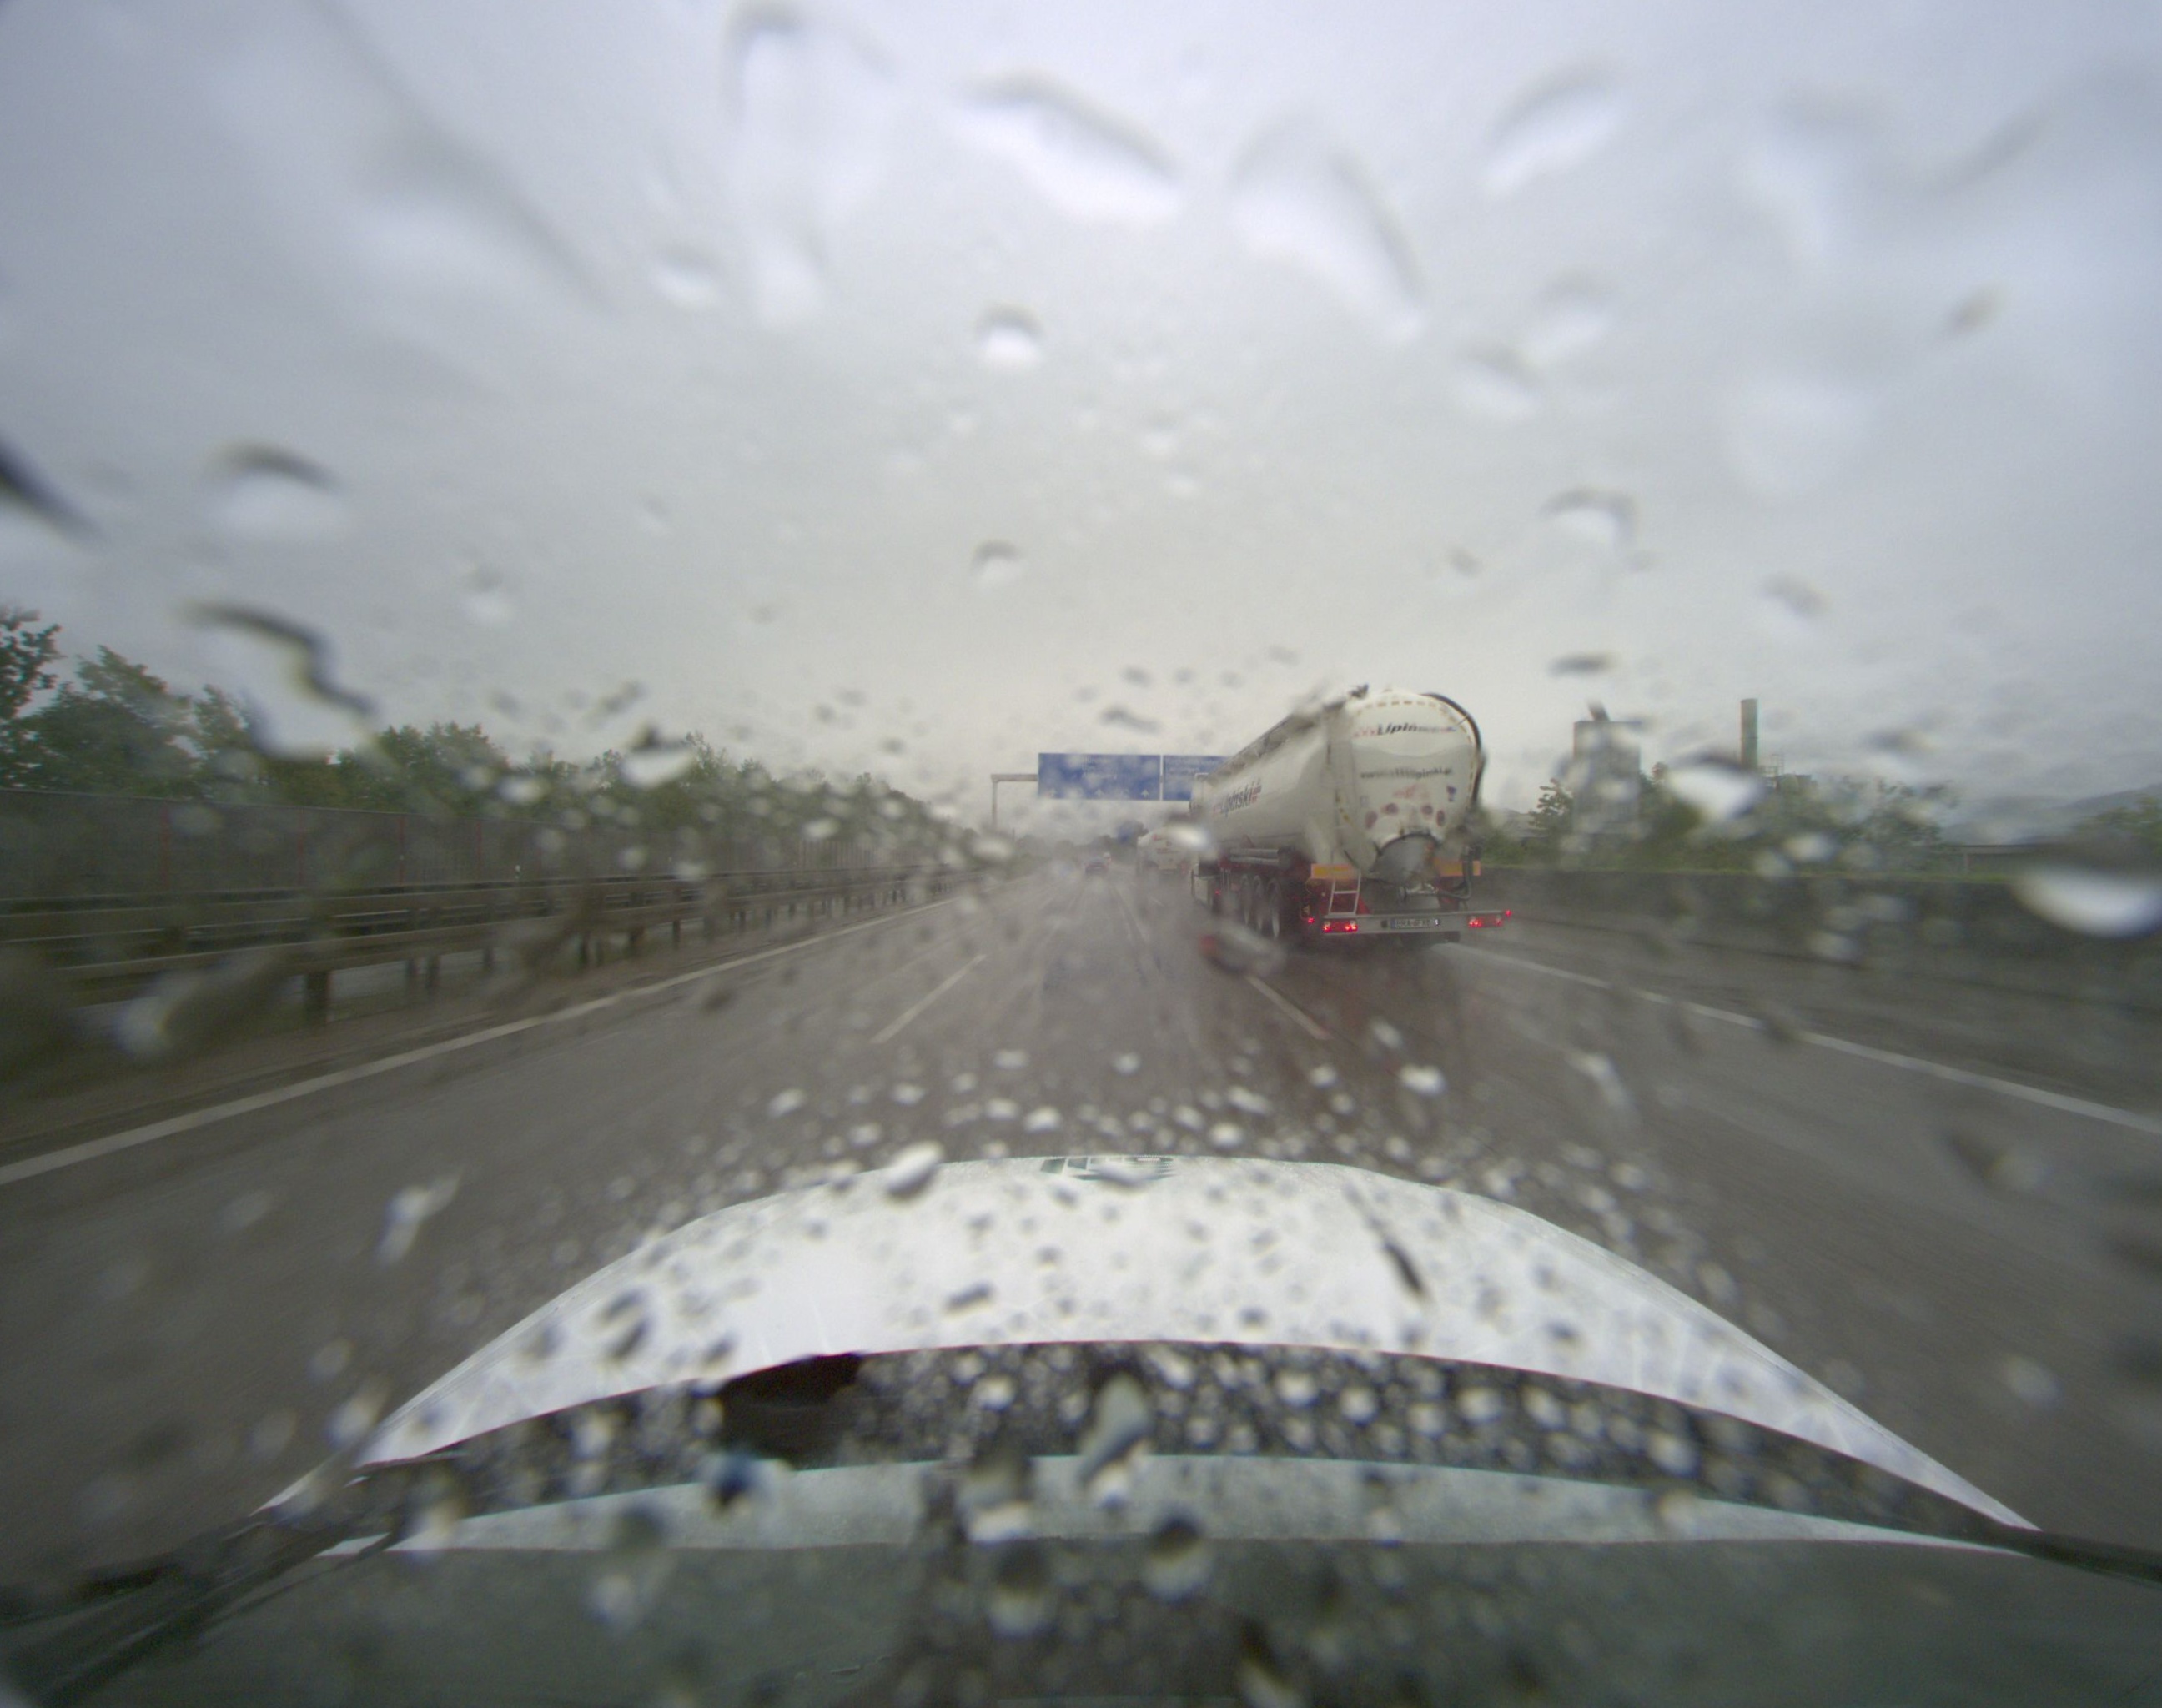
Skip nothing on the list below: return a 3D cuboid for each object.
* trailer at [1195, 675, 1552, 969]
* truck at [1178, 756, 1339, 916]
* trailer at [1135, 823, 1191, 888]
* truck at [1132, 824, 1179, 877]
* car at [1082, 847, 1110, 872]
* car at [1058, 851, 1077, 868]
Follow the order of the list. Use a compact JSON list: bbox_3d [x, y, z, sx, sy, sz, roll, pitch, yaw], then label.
[{"bbox_3d":[4.489,-0.411,16.097,3.176,3.670,11.671,-1,0,2],"label":"trailer"},{"bbox_3d":[4.685,-0.418,23.127,3.094,3.806,7.213,-1,0,1],"label":"truck"},{"bbox_3d":[5.212,0.091,53.290,2.994,3.848,8.625,0,0,1],"label":"trailer"},{"bbox_3d":[5.338,-0.231,59.590,2.933,3.684,6.362,0,0,1],"label":"truck"},{"bbox_3d":[1.153,0.407,61.843,1.970,1.756,4.484,-1,0,3],"label":"car"},{"bbox_3d":[-1.469,0.579,85.918,1.920,1.741,4.401,0,0,-1],"label":"car"}]
